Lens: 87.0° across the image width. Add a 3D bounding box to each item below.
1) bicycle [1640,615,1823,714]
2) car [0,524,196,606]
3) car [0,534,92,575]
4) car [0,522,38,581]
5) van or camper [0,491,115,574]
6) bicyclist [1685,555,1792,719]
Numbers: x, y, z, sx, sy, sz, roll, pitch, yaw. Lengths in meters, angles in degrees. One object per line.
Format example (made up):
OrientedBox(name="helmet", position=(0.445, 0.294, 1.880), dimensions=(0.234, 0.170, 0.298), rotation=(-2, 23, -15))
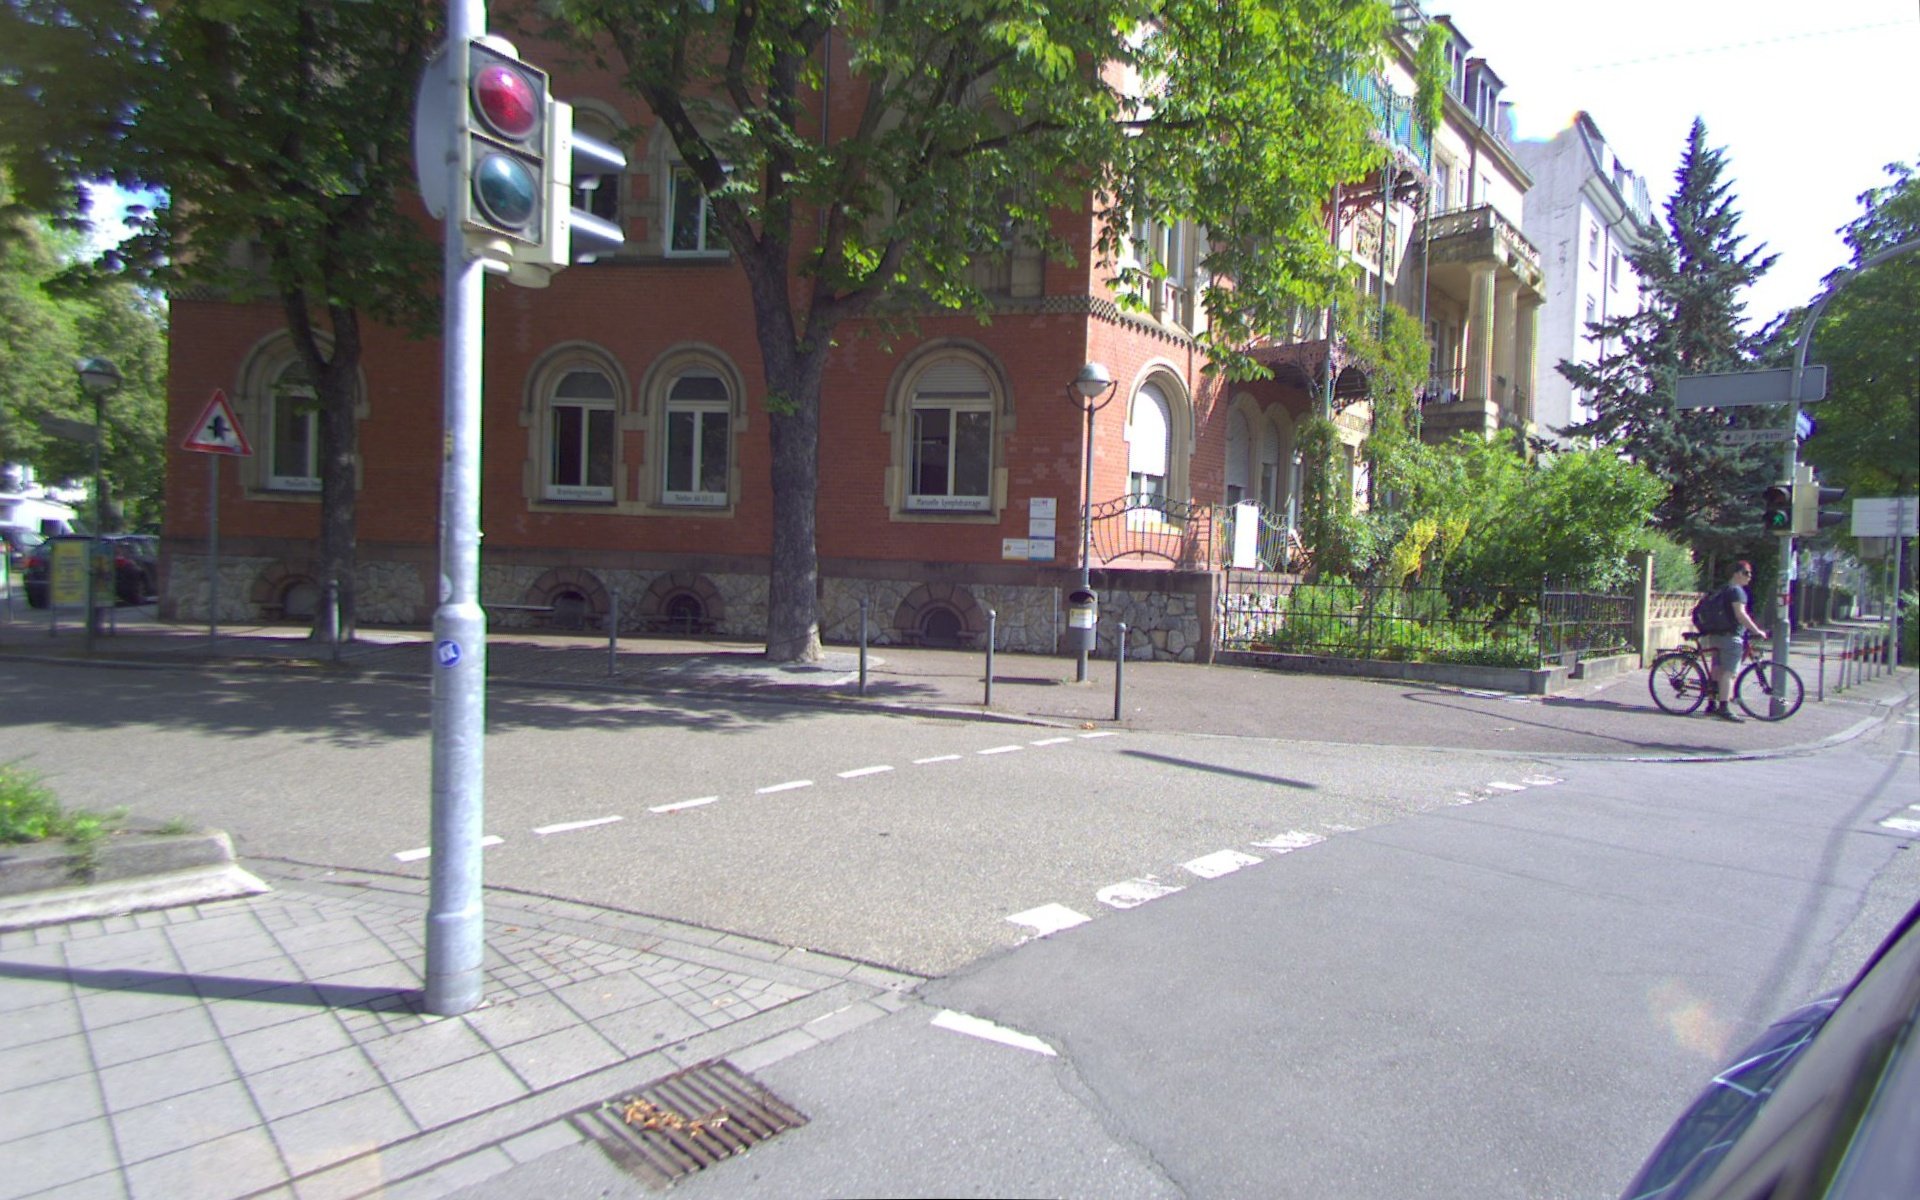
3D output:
OrientedBox(name="bicycle", position=(9.099, 0.750, 11.961), dimensions=(1.810, 1.048, 0.390), rotation=(3, 1, -1))
OrientedBox(name="car", position=(-17.884, -0.739, 21.182), dimensions=(1.896, 1.504, 4.010), rotation=(1, 2, -20))
OrientedBox(name="car", position=(-34.719, -1.713, 37.478), dimensions=(3.588, 1.415, 1.537), rotation=(1, 2, -23))
OrientedBox(name="car", position=(-33.082, -1.658, 33.060), dimensions=(3.916, 1.905, 2.005), rotation=(1, 2, -21))
OrientedBox(name="van or camper", position=(-37.291, -2.653, 39.132), dimensions=(6.692, 3.076, 2.126), rotation=(1, 1, -26))
OrientedBox(name="bicyclist", position=(9.166, 0.407, 11.952), dimensions=(0.727, 1.842, 0.814), rotation=(3, 1, 22))
